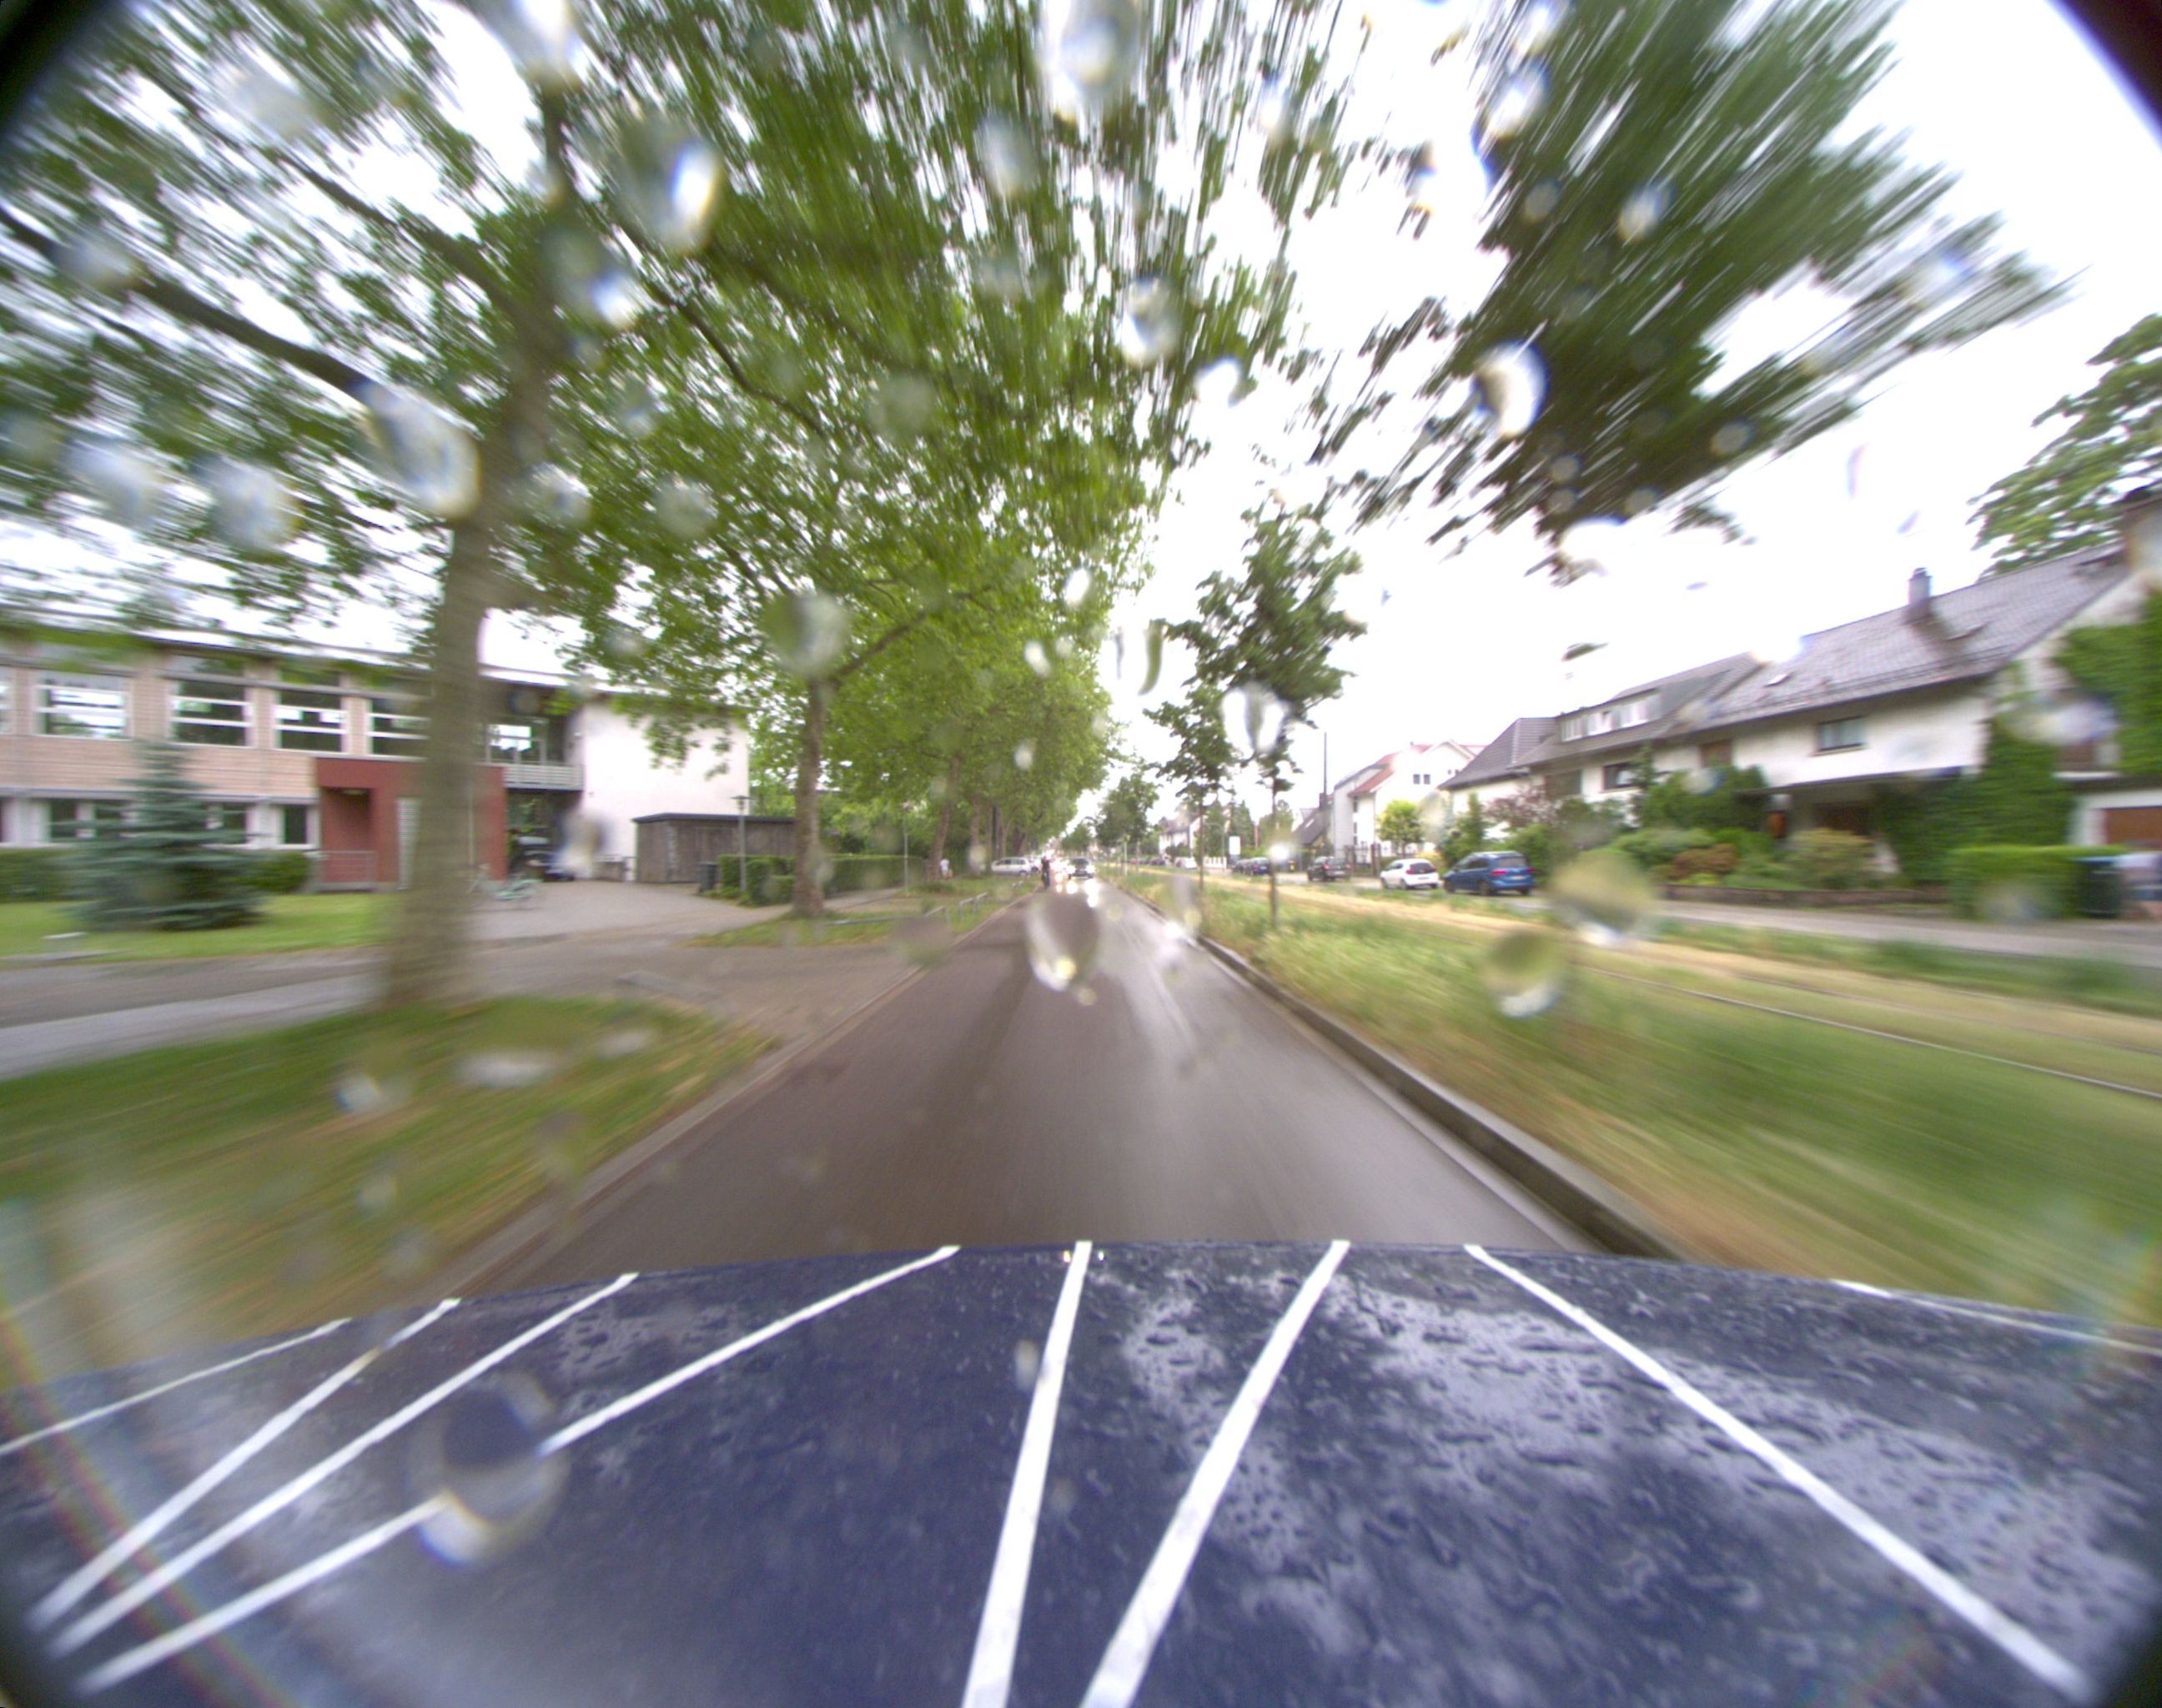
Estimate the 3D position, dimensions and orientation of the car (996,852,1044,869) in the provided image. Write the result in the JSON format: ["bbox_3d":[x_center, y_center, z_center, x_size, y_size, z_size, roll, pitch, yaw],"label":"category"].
[{"bbox_3d":[-5.419,0.594,67.501,4.020,1.478,1.636,0,0,-19],"label":"car"}]

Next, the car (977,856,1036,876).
[{"bbox_3d":[-5.516,0.870,56.027,4.020,1.478,1.636,0,0,-19],"label":"car"}]

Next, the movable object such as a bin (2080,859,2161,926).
[{"bbox_3d":[21.608,0.775,15.605,1.187,1.290,0.739,-2,0,1],"label":"movable object such as a bin"}]

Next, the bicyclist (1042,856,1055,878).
[{"bbox_3d":[-1.613,0.620,37.380,0.622,1.078,0.624,0,1,-2],"label":"bicyclist"}]

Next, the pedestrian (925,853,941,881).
[{"bbox_3d":[-8.175,0.724,41.907,0.748,1.529,0.585,0,1,-1],"label":"pedestrian"}]

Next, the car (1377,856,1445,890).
[{"bbox_3d":[16.306,0.886,37.752,1.718,1.520,3.601,-3,0,0],"label":"car"}]

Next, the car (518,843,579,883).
[{"bbox_3d":[-20.884,0.327,29.759,1.753,1.443,3.572,-2,1,-38],"label":"car"}]

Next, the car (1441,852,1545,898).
[{"bbox_3d":[16.532,0.802,30.720,1.849,1.696,4.182,-2,0,-1],"label":"car"}]

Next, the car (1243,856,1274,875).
[{"bbox_3d":[15.556,0.963,66.766,1.759,1.507,3.854,-3,0,0],"label":"car"}]

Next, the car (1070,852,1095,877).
[{"bbox_3d":[0.121,0.796,56.760,1.767,1.715,3.934,-2,0,0],"label":"car"}]

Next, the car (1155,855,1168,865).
[{"bbox_3d":[13.454,1.028,127.656,1.759,1.507,3.854,-3,0,0],"label":"car"}]

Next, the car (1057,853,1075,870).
[{"bbox_3d":[-1.532,0.767,79.417,1.767,1.715,3.934,-1,0,-1],"label":"car"}]

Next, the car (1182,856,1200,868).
[{"bbox_3d":[14.523,1.077,100.485,1.759,1.507,3.854,-3,0,0],"label":"car"}]

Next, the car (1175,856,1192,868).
[{"bbox_3d":[14.148,1.136,105.039,1.759,1.507,3.854,-3,0,0],"label":"car"}]

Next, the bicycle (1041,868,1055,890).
[{"bbox_3d":[-1.616,1.225,37.431,0.659,1.008,2.256,0,1,-1],"label":"bicycle"}]

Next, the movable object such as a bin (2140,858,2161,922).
[{"bbox_3d":[22.825,0.730,15.547,1.257,1.290,0.739,-2,0,1],"label":"movable object such as a bin"}]

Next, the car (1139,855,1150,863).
[{"bbox_3d":[12.430,1.010,148.707,1.759,1.507,3.854,-3,0,0],"label":"car"}]

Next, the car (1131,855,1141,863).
[{"bbox_3d":[11.689,1.079,160.490,1.759,1.507,3.854,-3,0,0],"label":"car"}]

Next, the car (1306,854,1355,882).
[{"bbox_3d":[16.093,0.862,49.215,1.759,1.604,4.110,-3,0,0],"label":"car"}]

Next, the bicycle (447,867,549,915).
[{"bbox_3d":[-14.501,0.889,18.943,0.519,1.115,1.942,3,1,43],"label":"bicycle"}]

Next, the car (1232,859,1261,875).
[{"bbox_3d":[15.430,1.188,71.153,1.893,1.490,4.000,0,0,1],"label":"car"}]

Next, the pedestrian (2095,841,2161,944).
[{"bbox_3d":[18.796,0.652,13.420,0.599,1.757,0.869,-1,0,0],"label":"pedestrian"}]

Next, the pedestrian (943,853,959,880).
[{"bbox_3d":[-7.438,0.684,43.477,0.749,1.529,0.584,0,1,-23],"label":"pedestrian"}]
